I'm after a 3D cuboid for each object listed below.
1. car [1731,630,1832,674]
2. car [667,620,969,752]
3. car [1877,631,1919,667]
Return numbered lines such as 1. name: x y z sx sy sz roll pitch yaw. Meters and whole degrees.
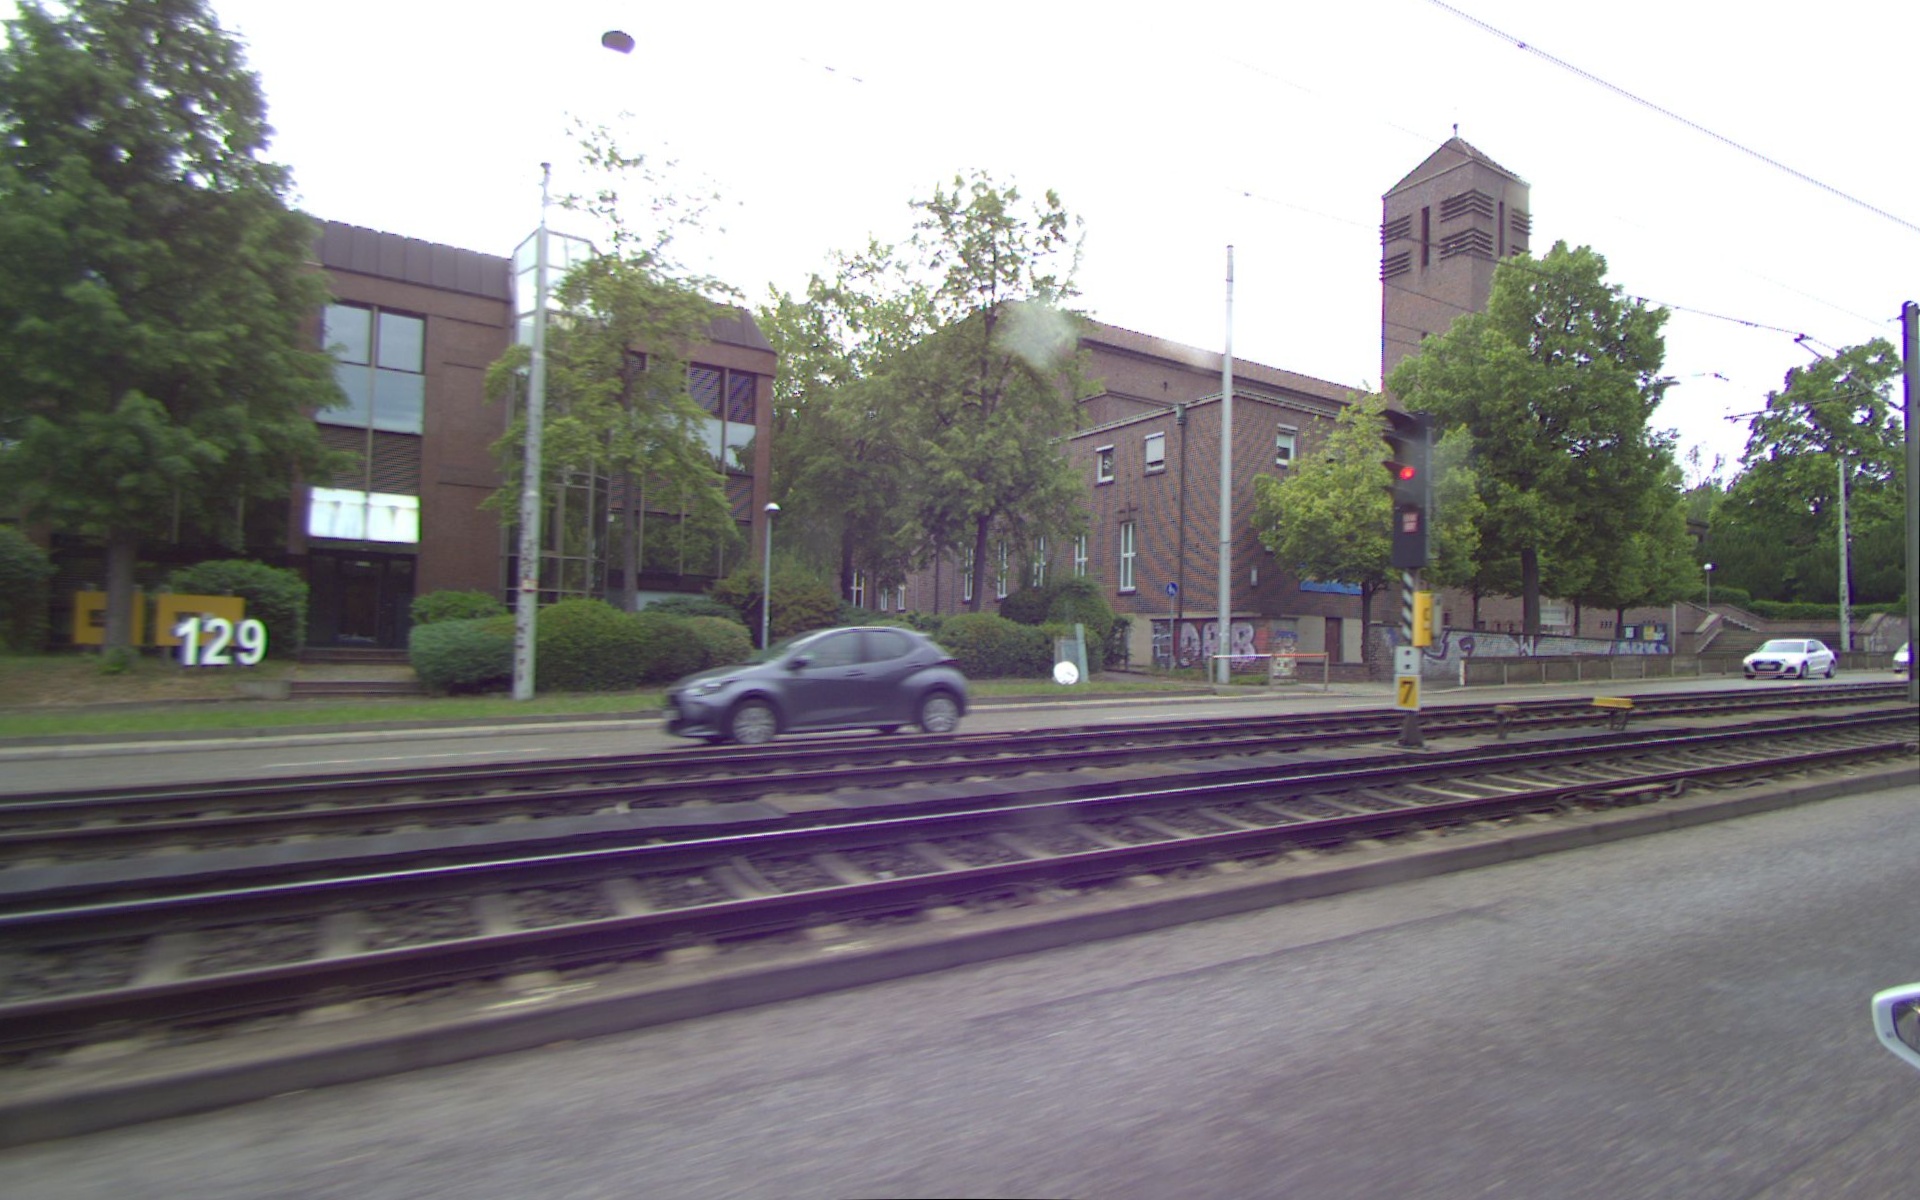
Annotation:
1. car: 29.807 1.846 36.412 3.954 1.453 1.608 1 0 -31
2. car: -1.826 1.011 13.086 3.565 1.481 1.673 0 -1 -30
3. car: 42.144 2.127 44.100 3.954 1.463 1.719 1 0 -31
